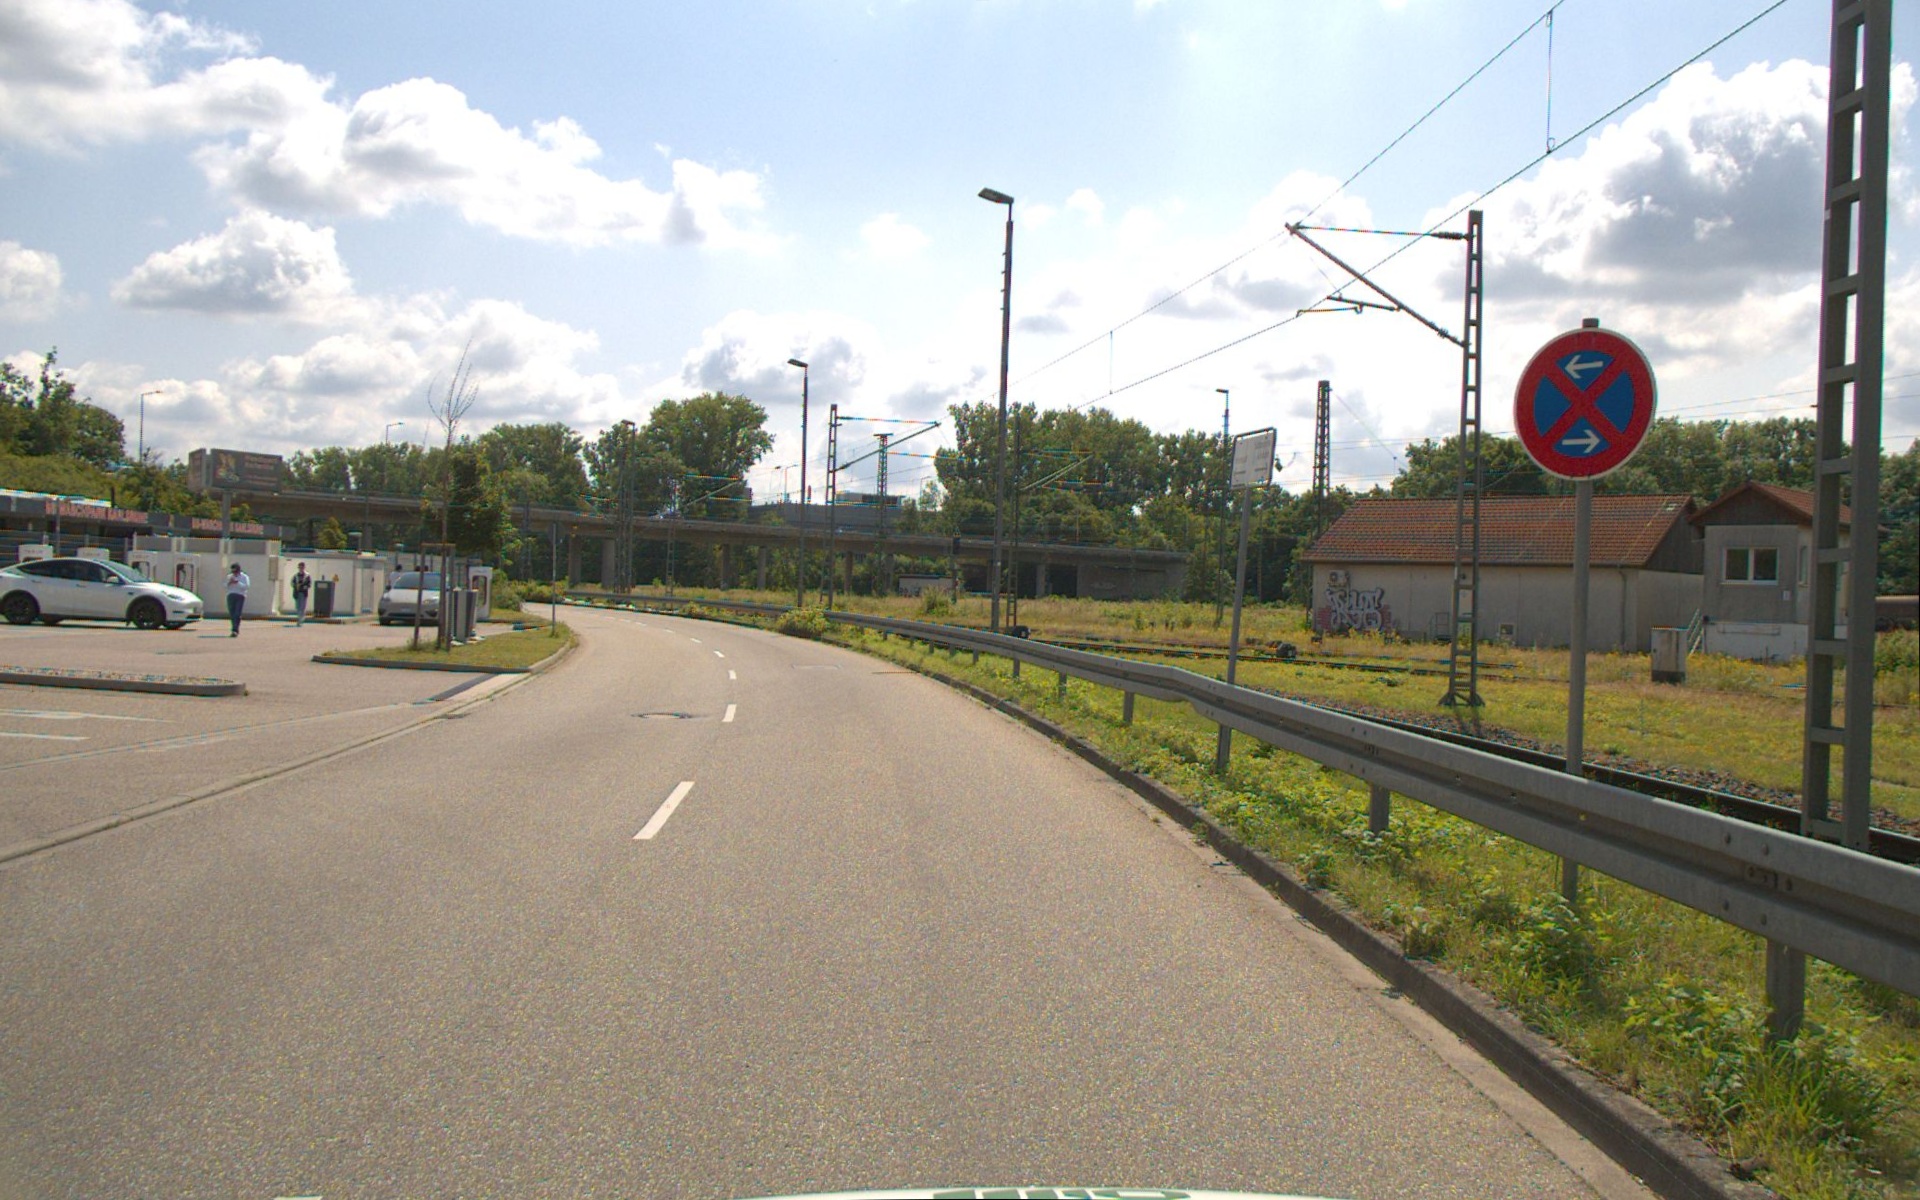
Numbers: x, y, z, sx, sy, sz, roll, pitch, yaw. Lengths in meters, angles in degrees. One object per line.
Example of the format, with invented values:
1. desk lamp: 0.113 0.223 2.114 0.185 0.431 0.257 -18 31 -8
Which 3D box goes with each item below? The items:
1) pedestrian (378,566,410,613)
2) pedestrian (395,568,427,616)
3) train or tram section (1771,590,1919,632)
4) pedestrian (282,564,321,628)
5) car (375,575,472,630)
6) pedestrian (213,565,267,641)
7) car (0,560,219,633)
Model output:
1. pedestrian: -19.290 -0.361 56.388 0.744 1.593 0.711 1 -1 36
2. pedestrian: -18.560 -0.283 55.932 0.698 1.607 0.720 1 -1 33
3. train or tram section: 75.833 0.895 138.801 13.700 3.363 3.014 1 -1 44
4. pedestrian: -18.747 -0.100 47.093 0.847 1.782 0.725 2 -1 -14
5. car: -17.104 0.027 52.938 1.893 1.544 4.771 2 1 -5
6. pedestrian: -16.367 0.067 37.607 0.846 1.682 0.939 2 0 -8
7. car: -20.529 -0.069 39.827 4.466 1.551 1.996 2 -1 -8
